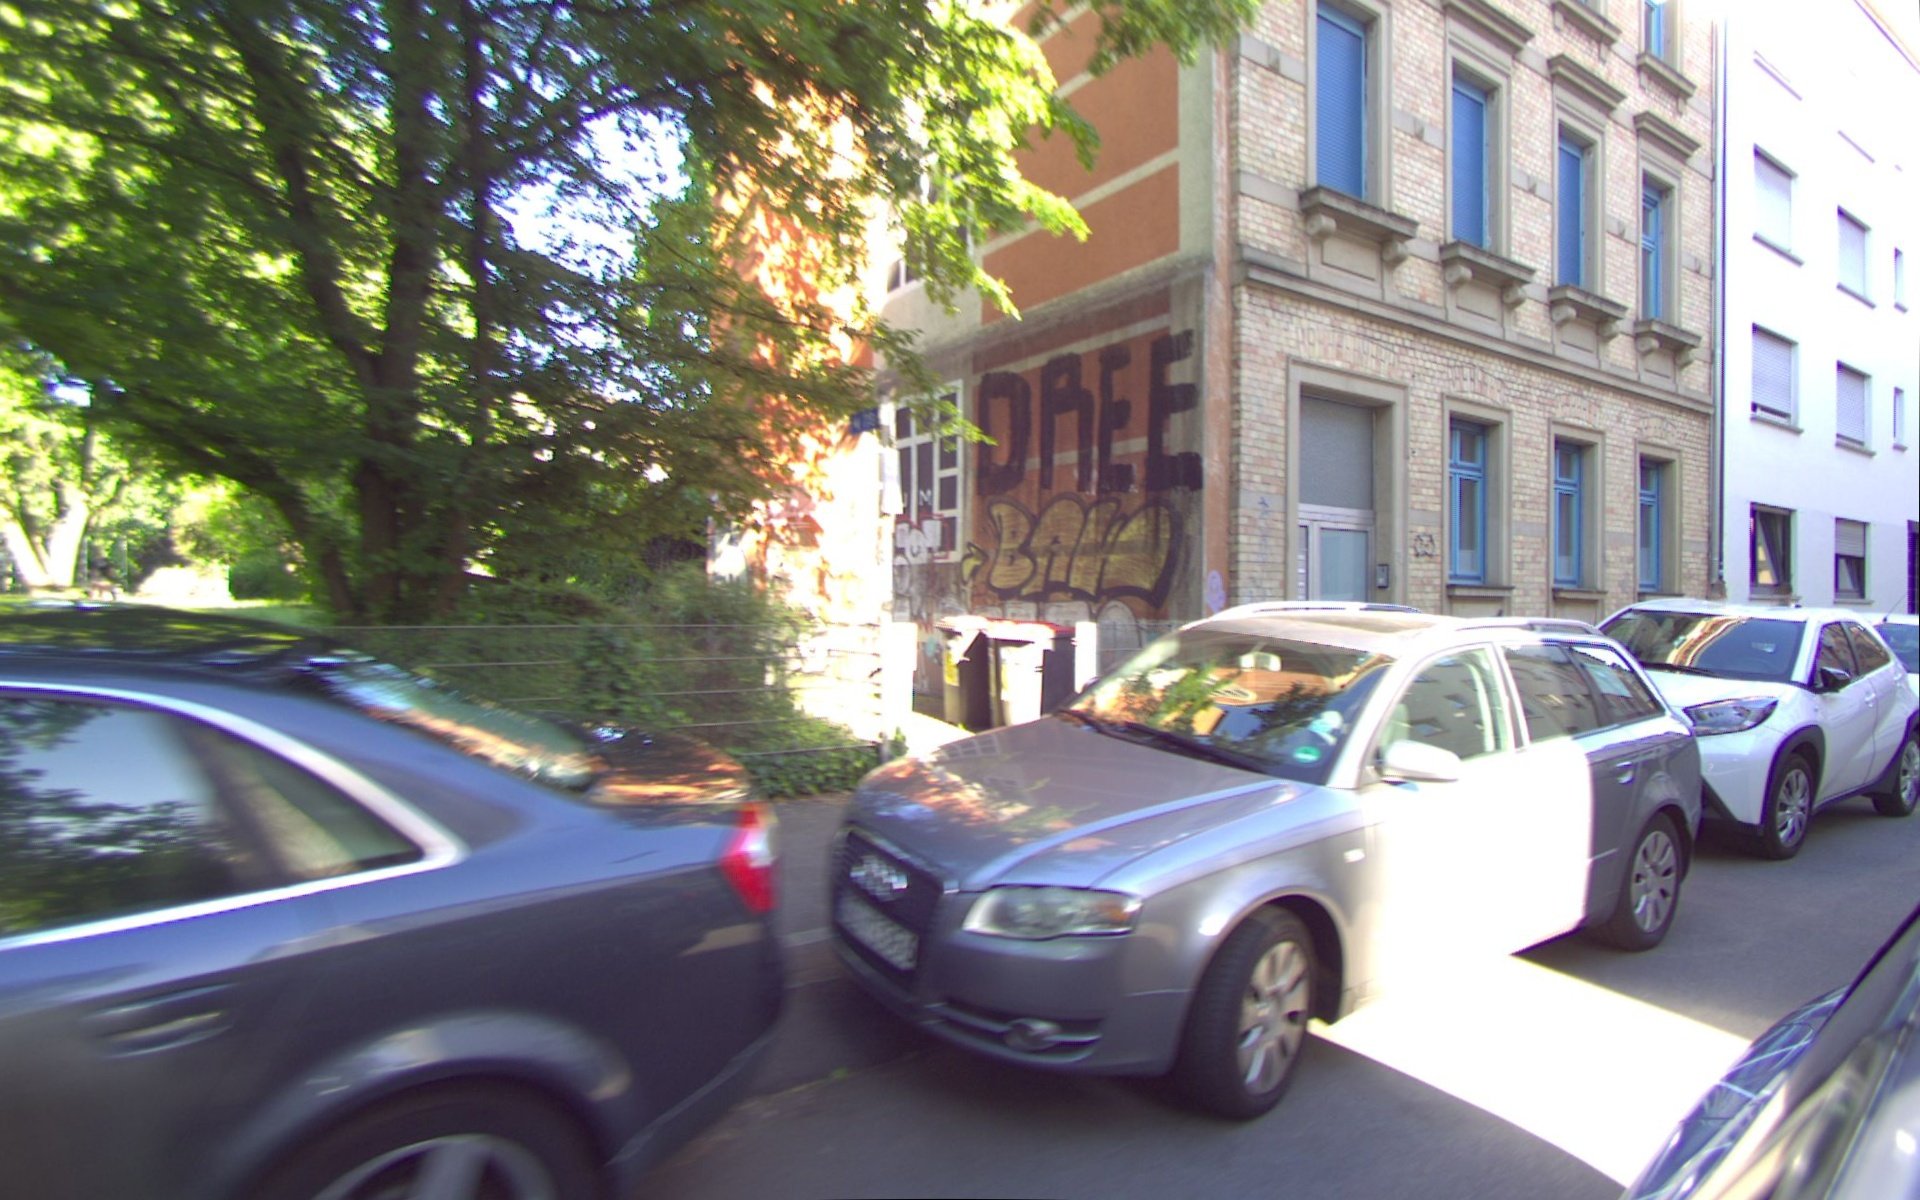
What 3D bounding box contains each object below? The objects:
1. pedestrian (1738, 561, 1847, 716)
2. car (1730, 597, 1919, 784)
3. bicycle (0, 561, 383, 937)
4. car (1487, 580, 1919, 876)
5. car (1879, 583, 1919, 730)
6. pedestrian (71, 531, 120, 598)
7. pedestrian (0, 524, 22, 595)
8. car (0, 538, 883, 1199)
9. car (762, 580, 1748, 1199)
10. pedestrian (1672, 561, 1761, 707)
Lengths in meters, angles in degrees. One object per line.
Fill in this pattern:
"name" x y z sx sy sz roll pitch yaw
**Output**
"pedestrian" 9.804 0.425 11.930 0.738 1.729 0.713 0 3 -34
"car" 9.110 0.740 9.771 3.928 1.468 1.598 0 2 -36
"bicycle" -3.730 0.519 4.199 2.280 1.317 1.296 0 3 -31
"car" 5.604 0.705 7.321 3.691 1.605 1.599 0 2 -34
"car" 13.129 0.677 12.374 4.244 1.687 1.773 0 1 -33
"pedestrian" -26.607 -1.095 31.149 0.898 2.039 0.746 1 1 13
"pedestrian" -27.983 -1.191 29.377 0.898 2.039 0.746 1 1 13
"car" -2.421 0.637 1.636 4.332 1.512 1.726 0 2 -37
"car" 1.491 0.698 4.284 4.269 1.512 1.665 0 1 -34
"pedestrian" 9.367 0.402 12.536 0.693 1.729 0.600 0 3 -34
